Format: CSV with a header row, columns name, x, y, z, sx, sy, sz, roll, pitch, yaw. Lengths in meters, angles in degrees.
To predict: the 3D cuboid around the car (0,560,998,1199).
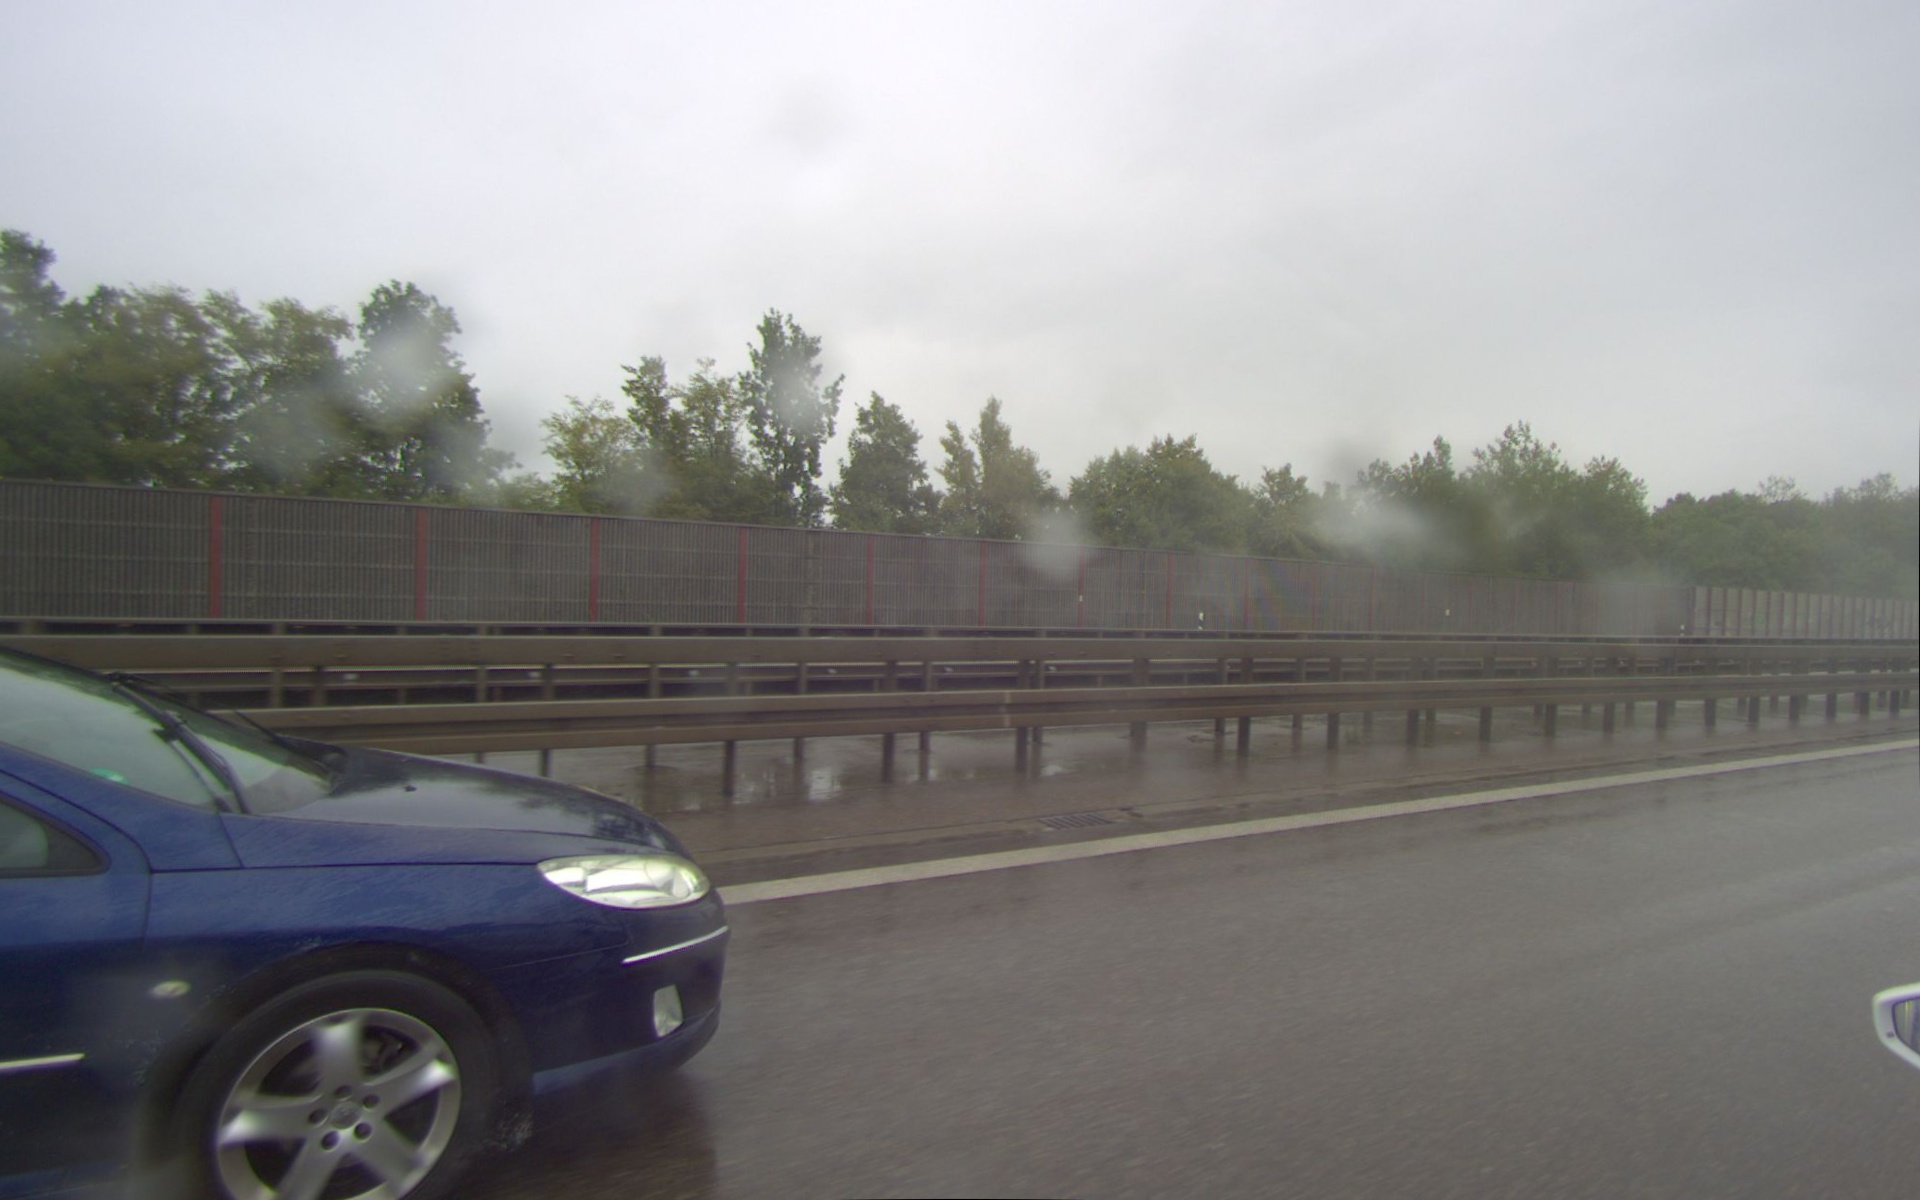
name,x,y,z,sx,sy,sz,roll,pitch,yaw
car,-2.596,0.667,2.493,5.097,1.505,2.044,1,0,-30
